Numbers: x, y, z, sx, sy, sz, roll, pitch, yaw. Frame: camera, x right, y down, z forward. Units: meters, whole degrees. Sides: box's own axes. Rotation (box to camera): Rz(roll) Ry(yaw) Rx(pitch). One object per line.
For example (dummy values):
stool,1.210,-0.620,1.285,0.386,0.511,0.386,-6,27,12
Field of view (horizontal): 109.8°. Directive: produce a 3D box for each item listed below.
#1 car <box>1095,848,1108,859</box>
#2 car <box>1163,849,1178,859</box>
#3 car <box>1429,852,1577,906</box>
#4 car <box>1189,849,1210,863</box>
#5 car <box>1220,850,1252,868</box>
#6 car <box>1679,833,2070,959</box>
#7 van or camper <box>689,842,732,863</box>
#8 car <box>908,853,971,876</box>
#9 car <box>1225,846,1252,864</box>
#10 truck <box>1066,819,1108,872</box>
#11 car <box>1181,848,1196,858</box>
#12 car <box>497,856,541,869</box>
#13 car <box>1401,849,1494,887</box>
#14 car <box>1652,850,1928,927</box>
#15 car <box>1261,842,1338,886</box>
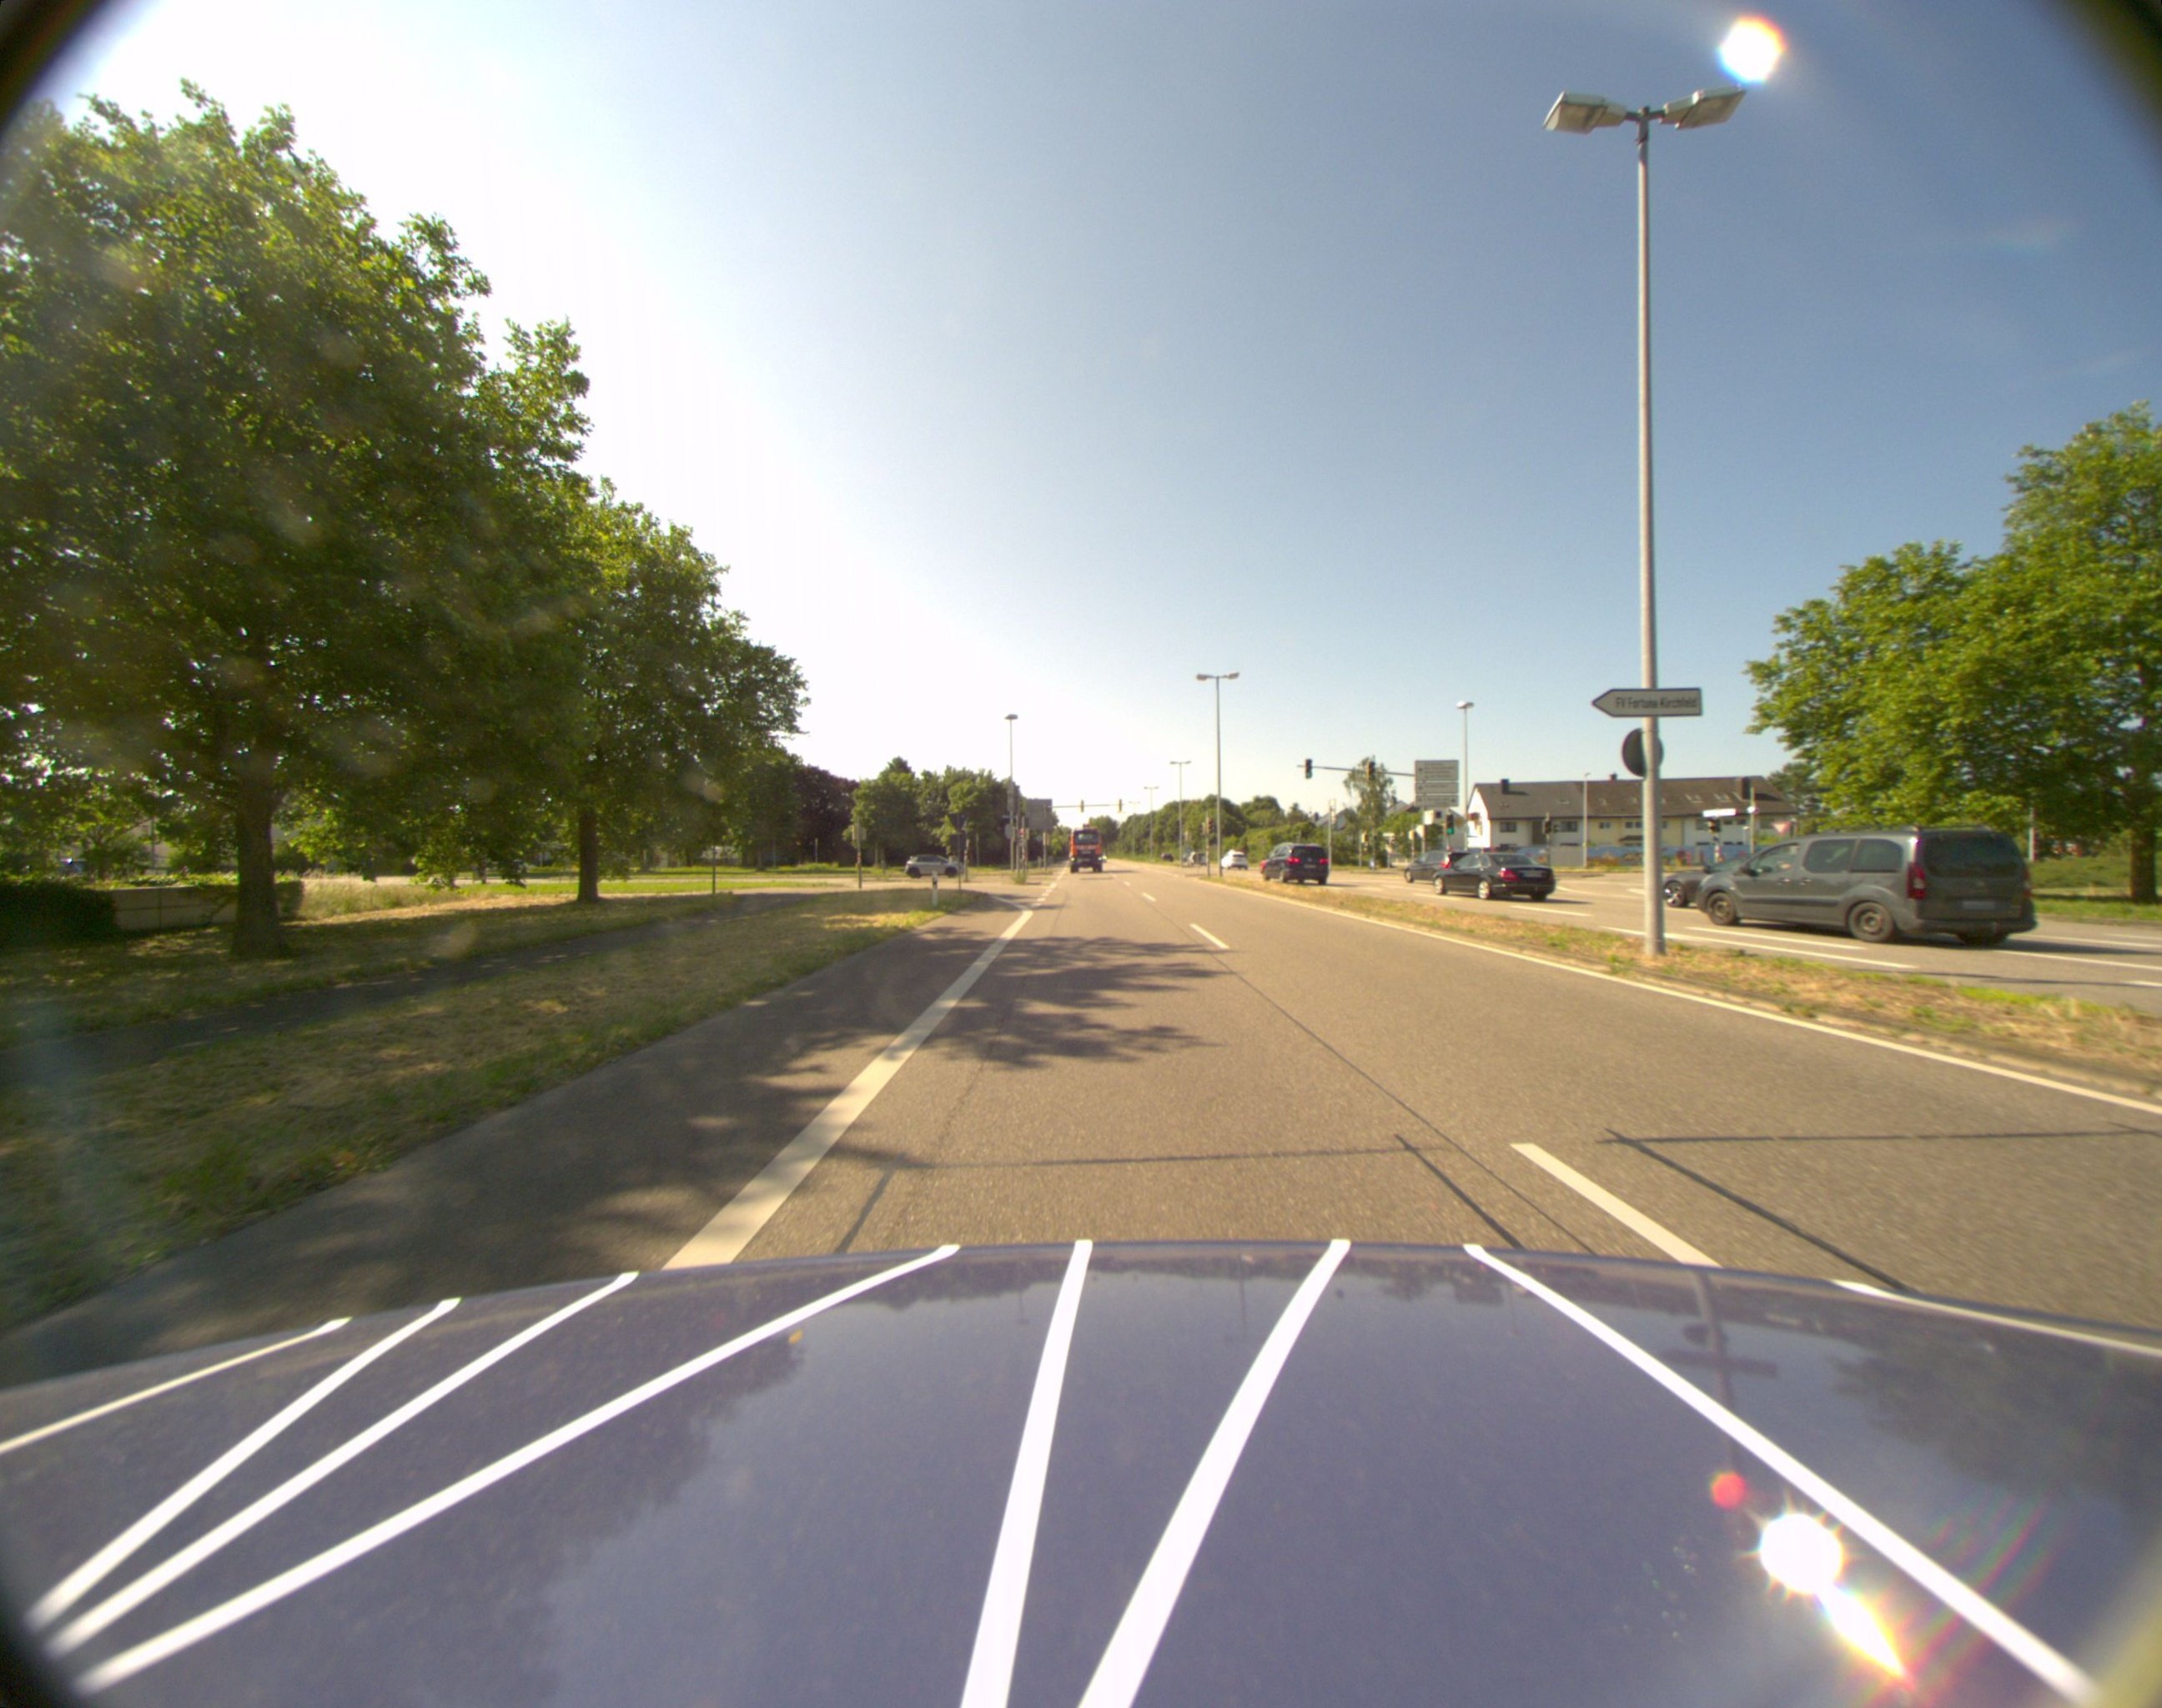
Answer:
car,3.201,-0.129,118.204,1.868,1.499,4.336,-1,1,3
car,13.062,-0.071,111.352,1.985,1.449,4.333,0,1,4
car,12.662,0.695,23.178,1.986,1.449,4.449,1,0,-1
car,12.563,0.157,80.590,1.623,1.449,3.871,0,1,0
car,13.029,0.395,63.952,1.833,1.378,3.842,0,1,-1
car,12.912,0.571,12.923,1.986,1.769,4.489,0,1,1
van or camper,-50.092,-0.219,102.753,4.812,2.815,1.999,0,1,-2
car,-9.950,0.701,53.582,4.062,1.555,1.742,0,1,0
car,16.482,0.093,79.557,1.709,1.759,4.227,1,0,-3
truck,0.474,-0.658,59.685,2.940,3.853,6.590,-2,1,0
car,16.316,-0.121,115.560,1.890,1.449,4.229,0,1,3
car,-60.817,0.873,82.277,1.731,1.281,4.000,0,1,1
car,16.770,0.585,35.079,2.077,1.613,4.489,1,1,0
car,16.387,0.694,18.016,2.077,1.520,4.684,2,1,-1
car,9.338,0.375,32.865,1.986,1.740,4.507,1,1,0
